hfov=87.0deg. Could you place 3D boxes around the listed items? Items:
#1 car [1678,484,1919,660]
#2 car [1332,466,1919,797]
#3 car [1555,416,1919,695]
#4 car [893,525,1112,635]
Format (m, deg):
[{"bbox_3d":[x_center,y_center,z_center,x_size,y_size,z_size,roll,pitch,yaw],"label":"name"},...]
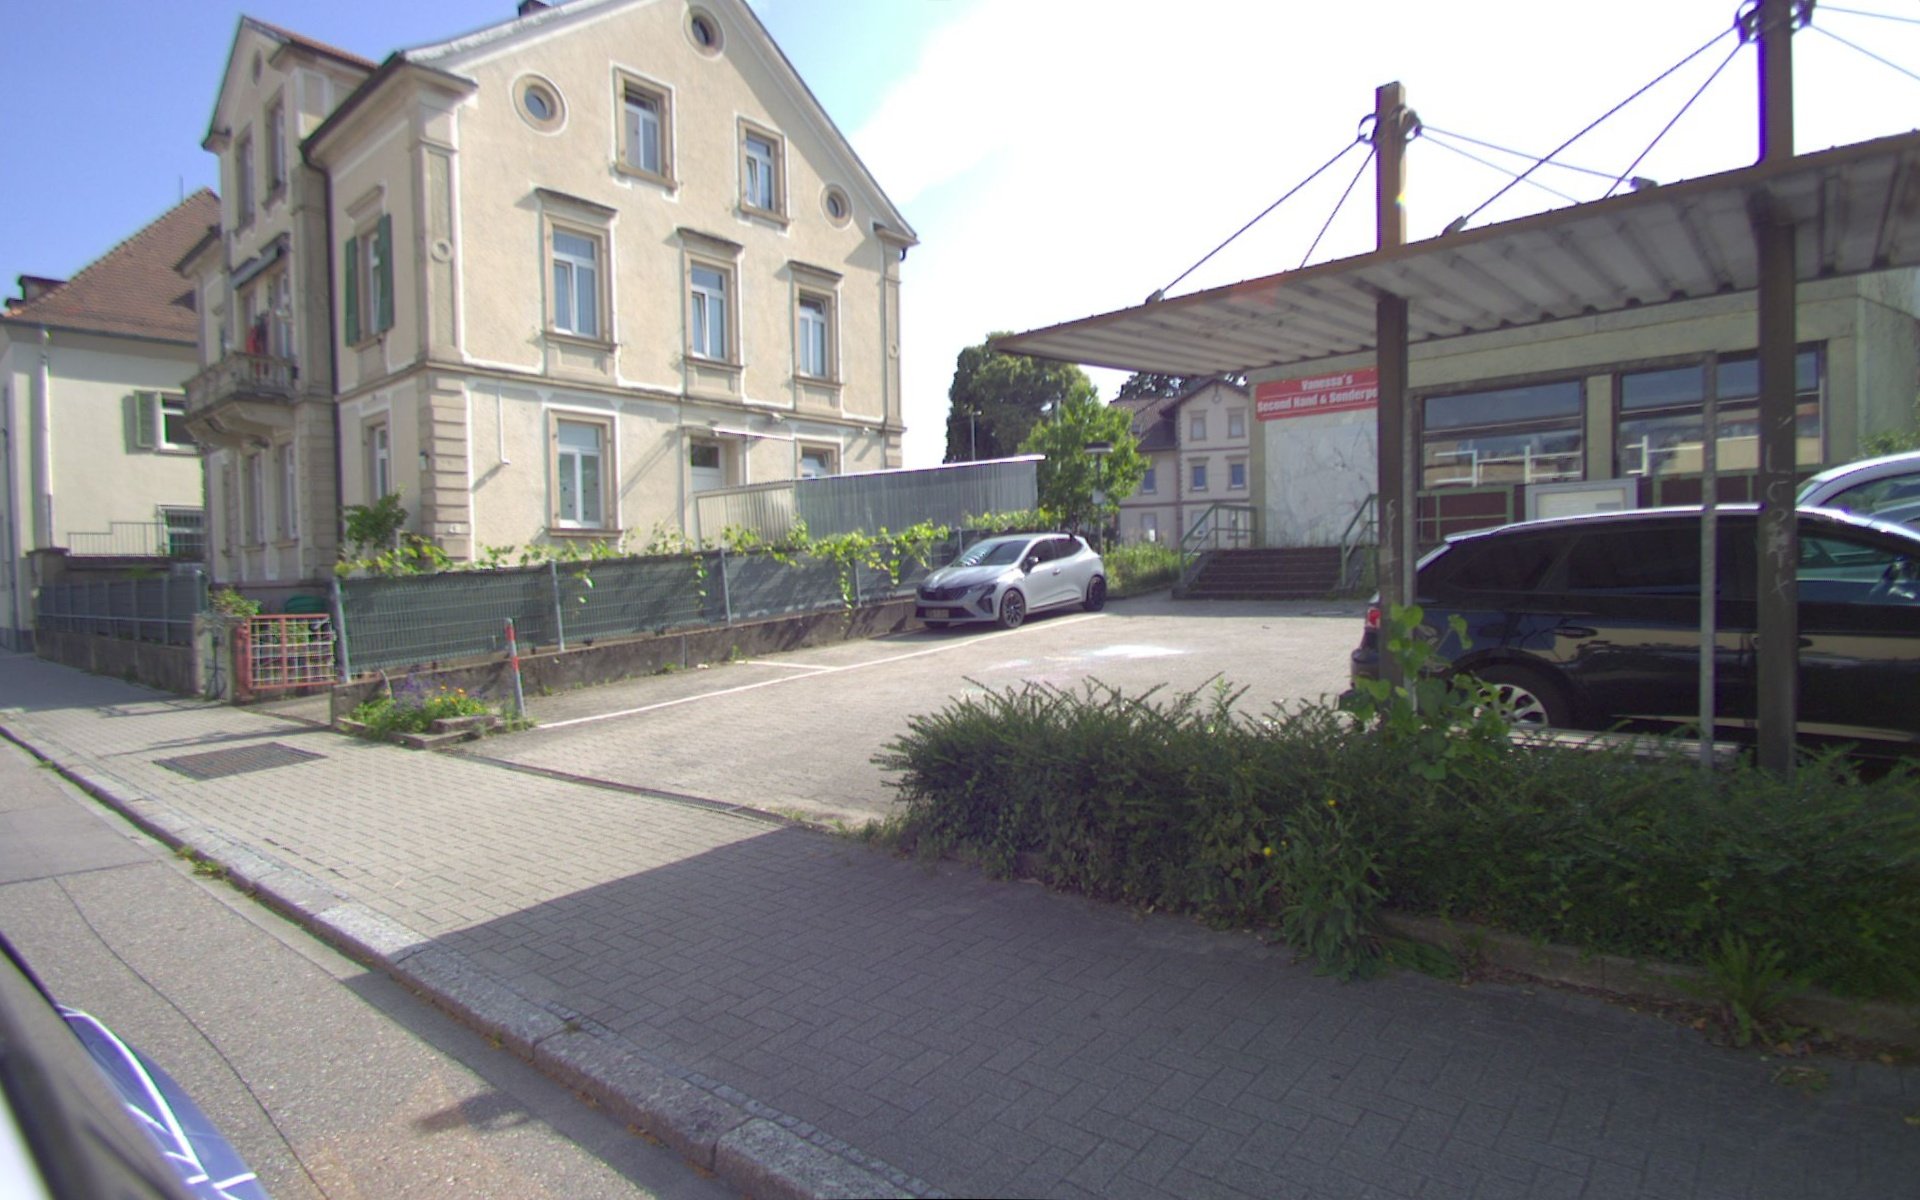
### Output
[{"bbox_3d":[8.688,-0.304,8.647,3.998,1.433,1.796,-2,3,41],"label":"car"},{"bbox_3d":[4.479,0.102,5.356,4.391,1.472,1.599,-2,2,41],"label":"car"},{"bbox_3d":[6.947,-0.358,6.960,4.677,1.785,1.805,-1,4,39],"label":"car"},{"bbox_3d":[0.828,-0.396,16.998,1.704,1.426,3.795,-1,6,39],"label":"car"}]
